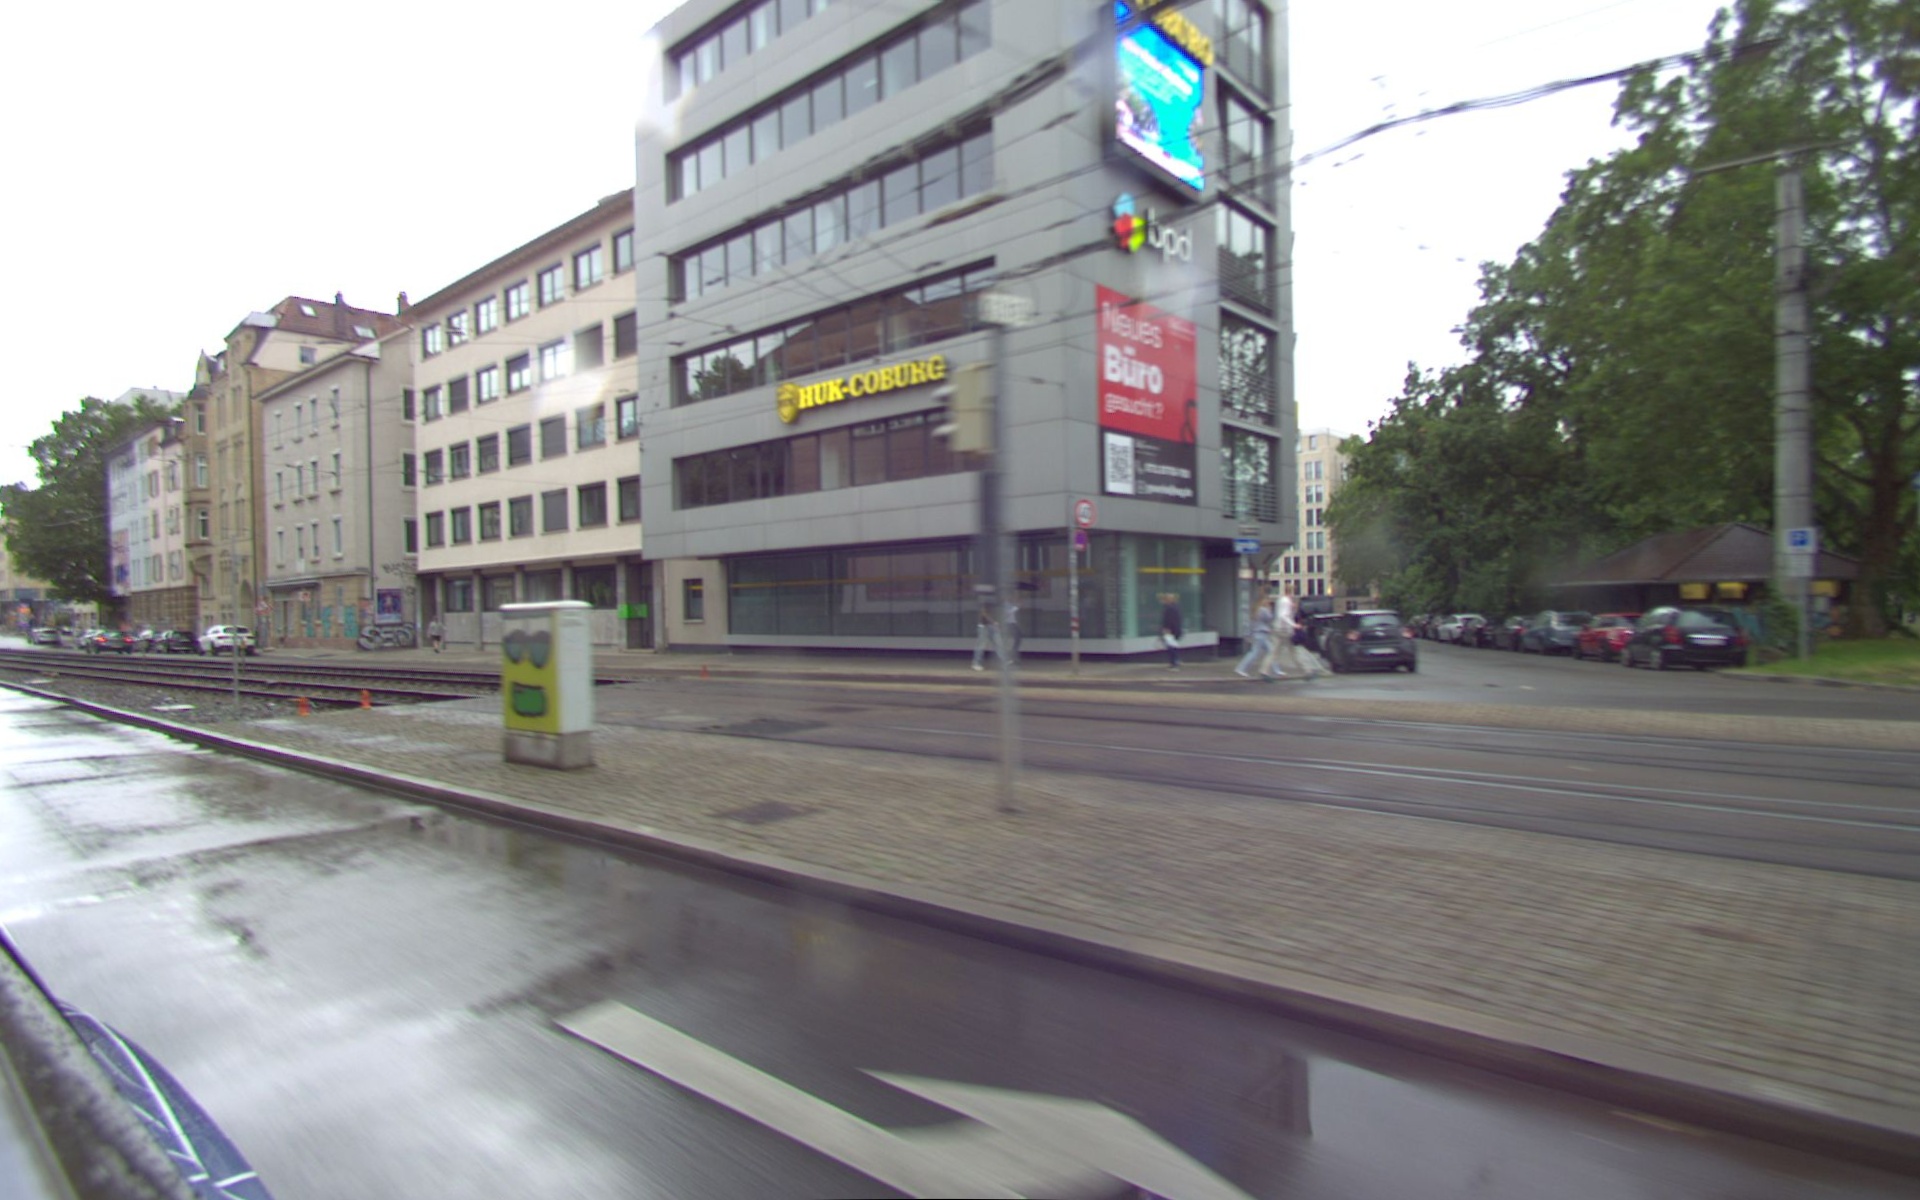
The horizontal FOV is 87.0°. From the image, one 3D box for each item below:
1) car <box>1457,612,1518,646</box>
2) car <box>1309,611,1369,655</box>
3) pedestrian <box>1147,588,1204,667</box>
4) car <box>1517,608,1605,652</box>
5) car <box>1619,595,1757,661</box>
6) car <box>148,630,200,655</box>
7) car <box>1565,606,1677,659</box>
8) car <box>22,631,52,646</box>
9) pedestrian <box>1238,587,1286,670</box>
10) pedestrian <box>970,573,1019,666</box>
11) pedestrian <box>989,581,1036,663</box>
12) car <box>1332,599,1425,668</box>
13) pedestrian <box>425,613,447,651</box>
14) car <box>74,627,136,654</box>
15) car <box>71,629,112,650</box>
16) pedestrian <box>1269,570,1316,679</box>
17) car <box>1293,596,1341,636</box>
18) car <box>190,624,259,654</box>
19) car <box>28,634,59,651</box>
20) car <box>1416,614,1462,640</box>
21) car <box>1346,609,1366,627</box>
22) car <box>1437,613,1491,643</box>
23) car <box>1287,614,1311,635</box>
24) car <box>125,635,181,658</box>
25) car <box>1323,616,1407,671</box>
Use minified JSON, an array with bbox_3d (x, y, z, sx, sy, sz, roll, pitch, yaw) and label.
[{"bbox_3d":[23.791,1.322,45.770,1.687,1.459,3.523,-1,-2,15],"label":"car"},{"bbox_3d":[14.197,1.245,38.084,1.686,1.567,3.524,-1,-2,14],"label":"car"},{"bbox_3d":[4.586,0.576,21.533,0.950,1.606,0.591,-3,1,-24],"label":"pedestrian"},{"bbox_3d":[20.918,1.037,35.349,1.687,1.459,3.523,-1,-2,15],"label":"car"},{"bbox_3d":[17.475,0.670,24.482,1.689,1.459,3.518,-1,-2,19],"label":"car"},{"bbox_3d":[-48.738,2.639,62.747,4.168,1.467,1.718,-2,-4,41],"label":"car"},{"bbox_3d":[19.339,0.941,29.794,1.687,1.459,3.523,-1,-2,15],"label":"car"},{"bbox_3d":[-93.971,3.932,103.040,4.227,1.553,1.818,-2,-3,42],"label":"car"},{"bbox_3d":[6.035,0.553,20.243,0.579,1.606,0.637,-3,1,-32],"label":"pedestrian"},{"bbox_3d":[0.776,0.426,22.682,0.810,2.028,0.654,-2,1,39],"label":"pedestrian"},{"bbox_3d":[1.228,0.507,23.452,0.660,1.829,0.963,-2,1,31],"label":"pedestrian"},{"bbox_3d":[10.290,0.820,25.097,1.688,1.562,3.721,-1,-2,16],"label":"car"},{"bbox_3d":[-23.453,1.438,45.292,0.799,1.624,0.541,-2,2,43],"label":"pedestrian"},{"bbox_3d":[-51.542,2.468,60.990,4.342,1.548,1.921,-2,-4,38],"label":"car"},{"bbox_3d":[-69.305,3.156,80.768,4.224,1.617,1.819,-2,-2,40],"label":"car"},{"bbox_3d":[6.332,0.449,19.291,0.609,2.028,0.662,-2,1,3],"label":"pedestrian"},{"bbox_3d":[21.049,0.947,59.847,2.313,2.237,5.041,-1,-2,16],"label":"car"},{"bbox_3d":[-40.121,2.152,55.185,4.746,1.548,1.973,-2,-4,41],"label":"car"},{"bbox_3d":[-90.378,4.188,99.801,4.227,1.553,1.818,-2,-3,42],"label":"car"},{"bbox_3d":[27.290,1.542,57.719,1.687,1.459,3.523,-1,-2,15],"label":"car"},{"bbox_3d":[45.508,2.123,116.382,1.847,2.029,3.978,-1,-1,17],"label":"car"},{"bbox_3d":[25.298,1.415,50.919,1.687,1.459,3.523,-1,-2,15],"label":"car"},{"bbox_3d":[30.177,2.186,90.165,1.842,1.850,3.979,-1,-1,16],"label":"car"},{"bbox_3d":[-52.988,3.064,66.423,5.019,1.467,1.973,-2,-4,41],"label":"car"},{"bbox_3d":[11.571,1.214,29.128,1.686,1.465,3.724,-1,-2,14],"label":"car"}]
